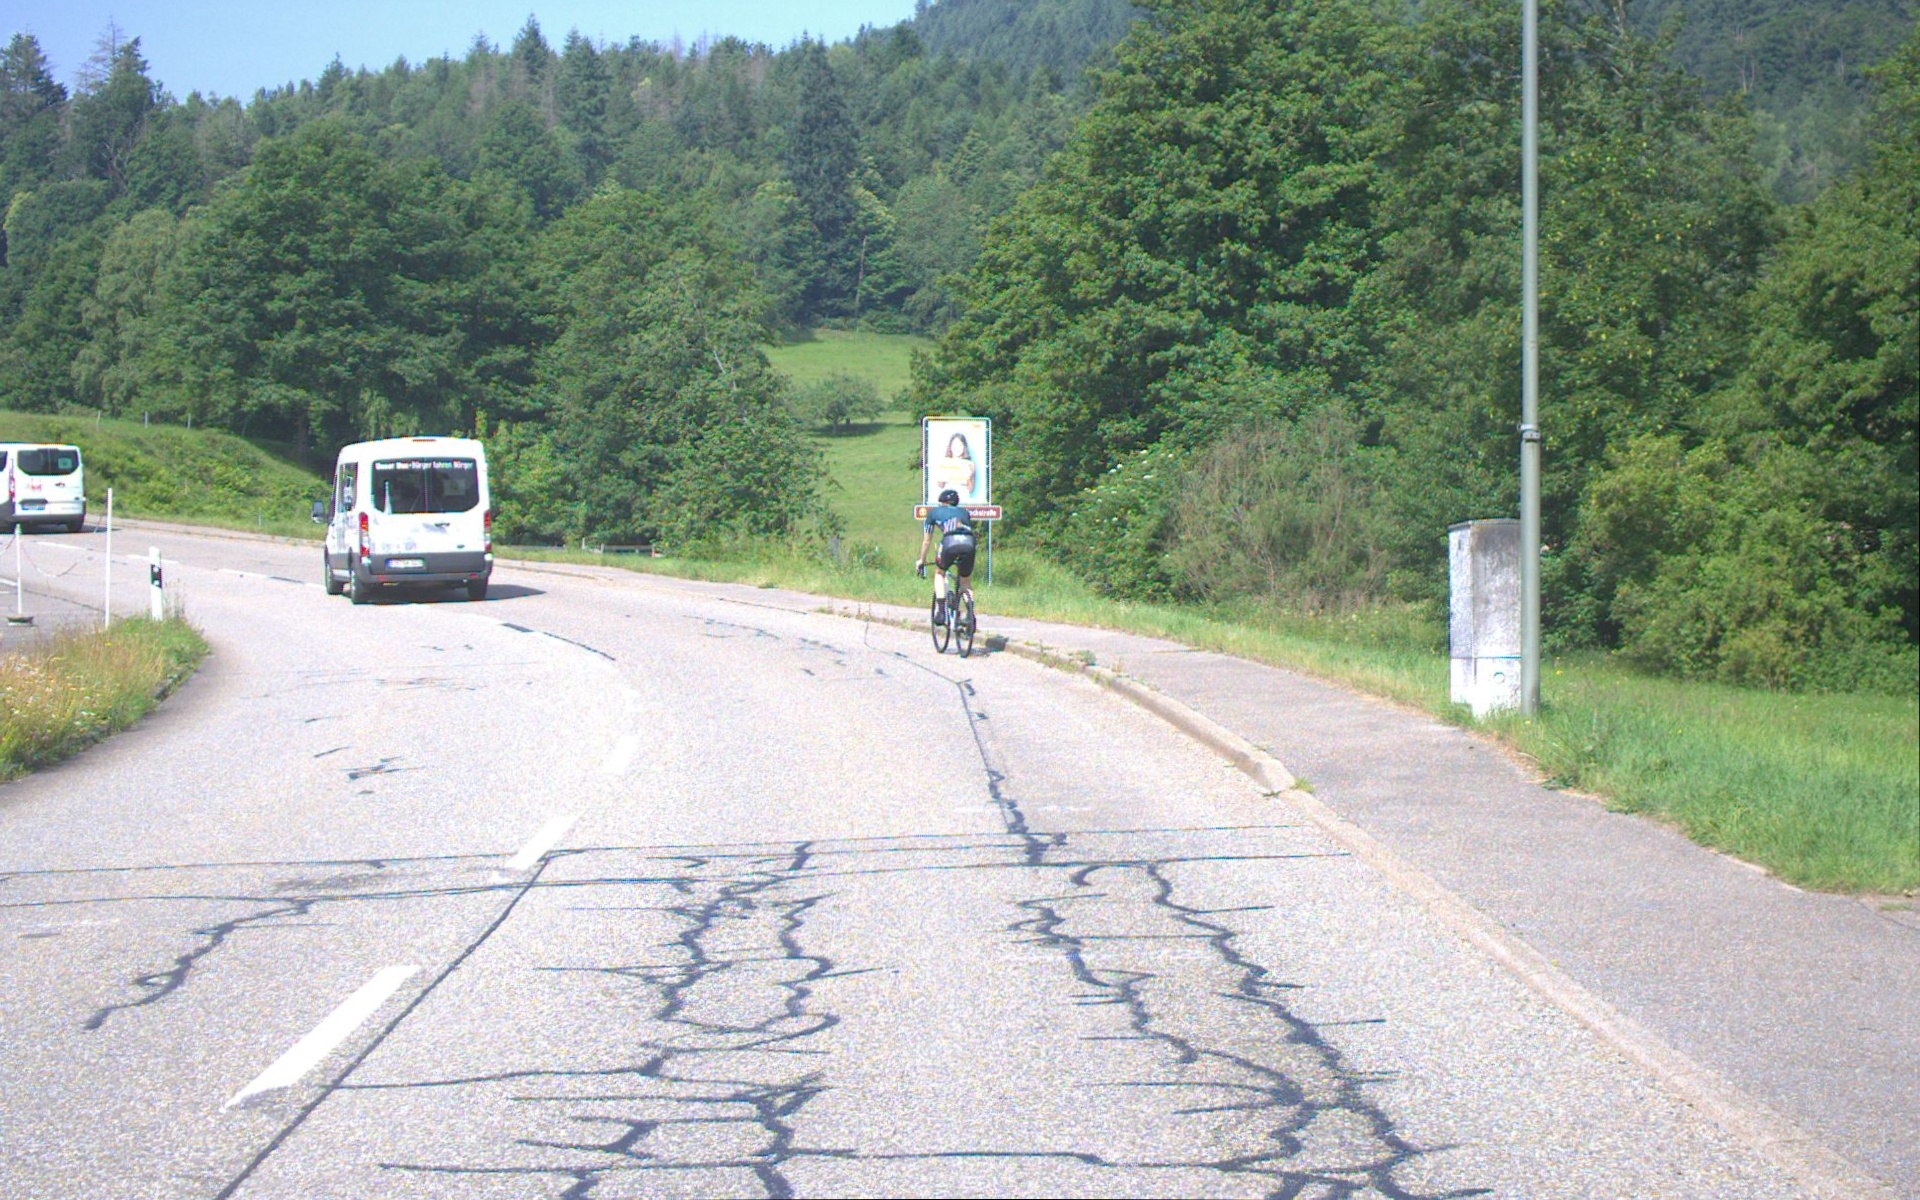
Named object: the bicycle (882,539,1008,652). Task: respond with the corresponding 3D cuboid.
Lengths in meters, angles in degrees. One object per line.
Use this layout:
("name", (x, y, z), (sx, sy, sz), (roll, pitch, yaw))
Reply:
("bicycle", (-0.164, -0.064, 34.245), (0.579, 1.031, 1.991), (-4, 3, -19))

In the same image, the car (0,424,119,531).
("car", (-21.371, -2.799, 78.199), (2.224, 2.278, 4.983), (-5, 5, -40))

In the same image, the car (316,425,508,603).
("car", (-8.488, -1.389, 52.904), (2.222, 2.516, 4.987), (-3, 4, -16))

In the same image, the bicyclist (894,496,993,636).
("bicyclist", (-0.170, -0.347, 34.206), (0.579, 1.338, 1.145), (-3, 3, -19))
